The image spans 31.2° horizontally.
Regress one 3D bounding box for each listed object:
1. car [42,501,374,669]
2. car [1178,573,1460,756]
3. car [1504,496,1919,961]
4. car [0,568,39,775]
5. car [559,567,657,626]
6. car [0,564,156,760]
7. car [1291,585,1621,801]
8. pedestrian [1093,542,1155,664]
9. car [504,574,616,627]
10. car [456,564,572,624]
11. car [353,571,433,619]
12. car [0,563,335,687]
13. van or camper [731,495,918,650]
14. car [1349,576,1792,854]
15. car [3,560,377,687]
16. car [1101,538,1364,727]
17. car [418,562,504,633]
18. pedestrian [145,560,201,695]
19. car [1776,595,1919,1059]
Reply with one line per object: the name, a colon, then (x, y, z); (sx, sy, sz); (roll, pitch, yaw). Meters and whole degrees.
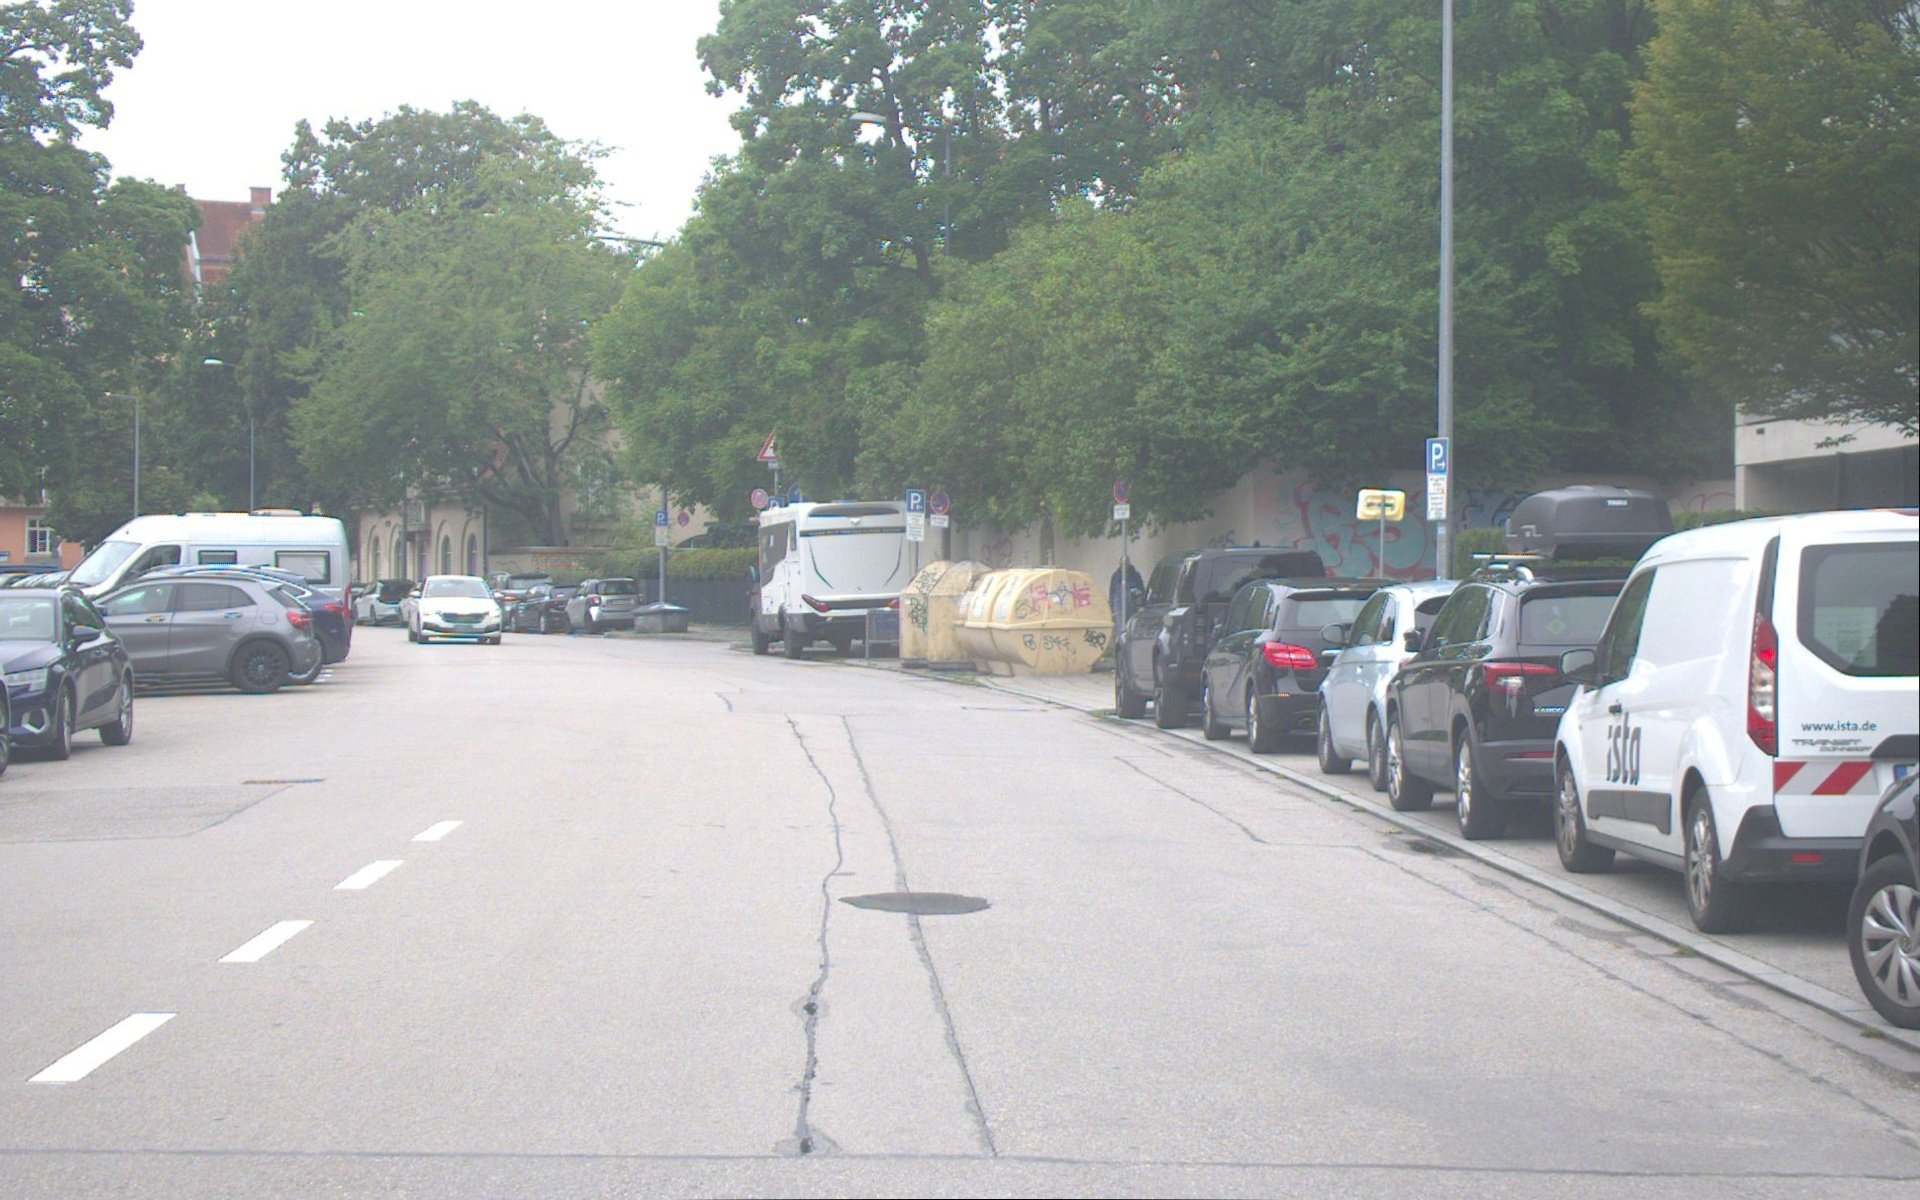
car: (-11.912, -0.276, 54.573); (4.623, 2.554, 2.234); (-1, 1, -36)
car: (3.230, 0.539, 31.819); (1.747, 1.534, 4.570); (1, 1, -5)
car: (3.949, 0.505, 16.342); (1.822, 1.854, 4.898); (2, 1, -1)
car: (-8.023, 0.571, 24.427); (1.845, 1.530, 4.522); (-2, 1, -2)
car: (-9.602, -0.086, 93.702); (1.738, 1.531, 2.947); (-1, 0, -25)
car: (-8.212, 0.489, 29.342); (1.845, 1.530, 4.562); (-2, 1, -3)
car: (3.675, 0.646, 26.109); (1.747, 1.475, 3.889); (1, 1, -3)
pedestrian: (2.689, 0.053, 56.356); (0.795, 1.978, 0.631); (1, 0, -20)
car: (-11.365, -0.004, 97.455); (1.876, 1.422, 4.223); (-1, 1, -25)
car: (-13.229, -0.199, 101.709); (1.993, 1.705, 4.885); (-1, 1, -25)
car: (-19.027, -0.187, 115.259); (1.707, 1.532, 4.241); (-2, 1, -22)
car: (-10.245, 0.331, 43.769); (4.329, 1.524, 1.934); (0, -1, -16)
van or camper: (-2.773, -0.550, 68.233); (2.272, 2.896, 7.279); (0, 0, -14)
car: (3.670, 0.628, 21.490); (1.747, 1.475, 4.598); (1, 1, -2)
car: (-10.389, 0.290, 46.531); (4.513, 1.588, 1.965); (-1, 1, -36)
car: (2.854, 0.342, 37.178); (1.987, 1.865, 5.078); (1, 0, -5)
car: (-10.747, -0.071, 73.961); (1.772, 1.470, 4.135); (1, 0, -9)
pedestrian: (-9.769, 0.332, 42.681); (0.589, 1.642, 0.714); (-2, 1, -11)
car: (3.945, 0.736, 10.462); (1.747, 1.459, 4.243); (0, 1, -2)
